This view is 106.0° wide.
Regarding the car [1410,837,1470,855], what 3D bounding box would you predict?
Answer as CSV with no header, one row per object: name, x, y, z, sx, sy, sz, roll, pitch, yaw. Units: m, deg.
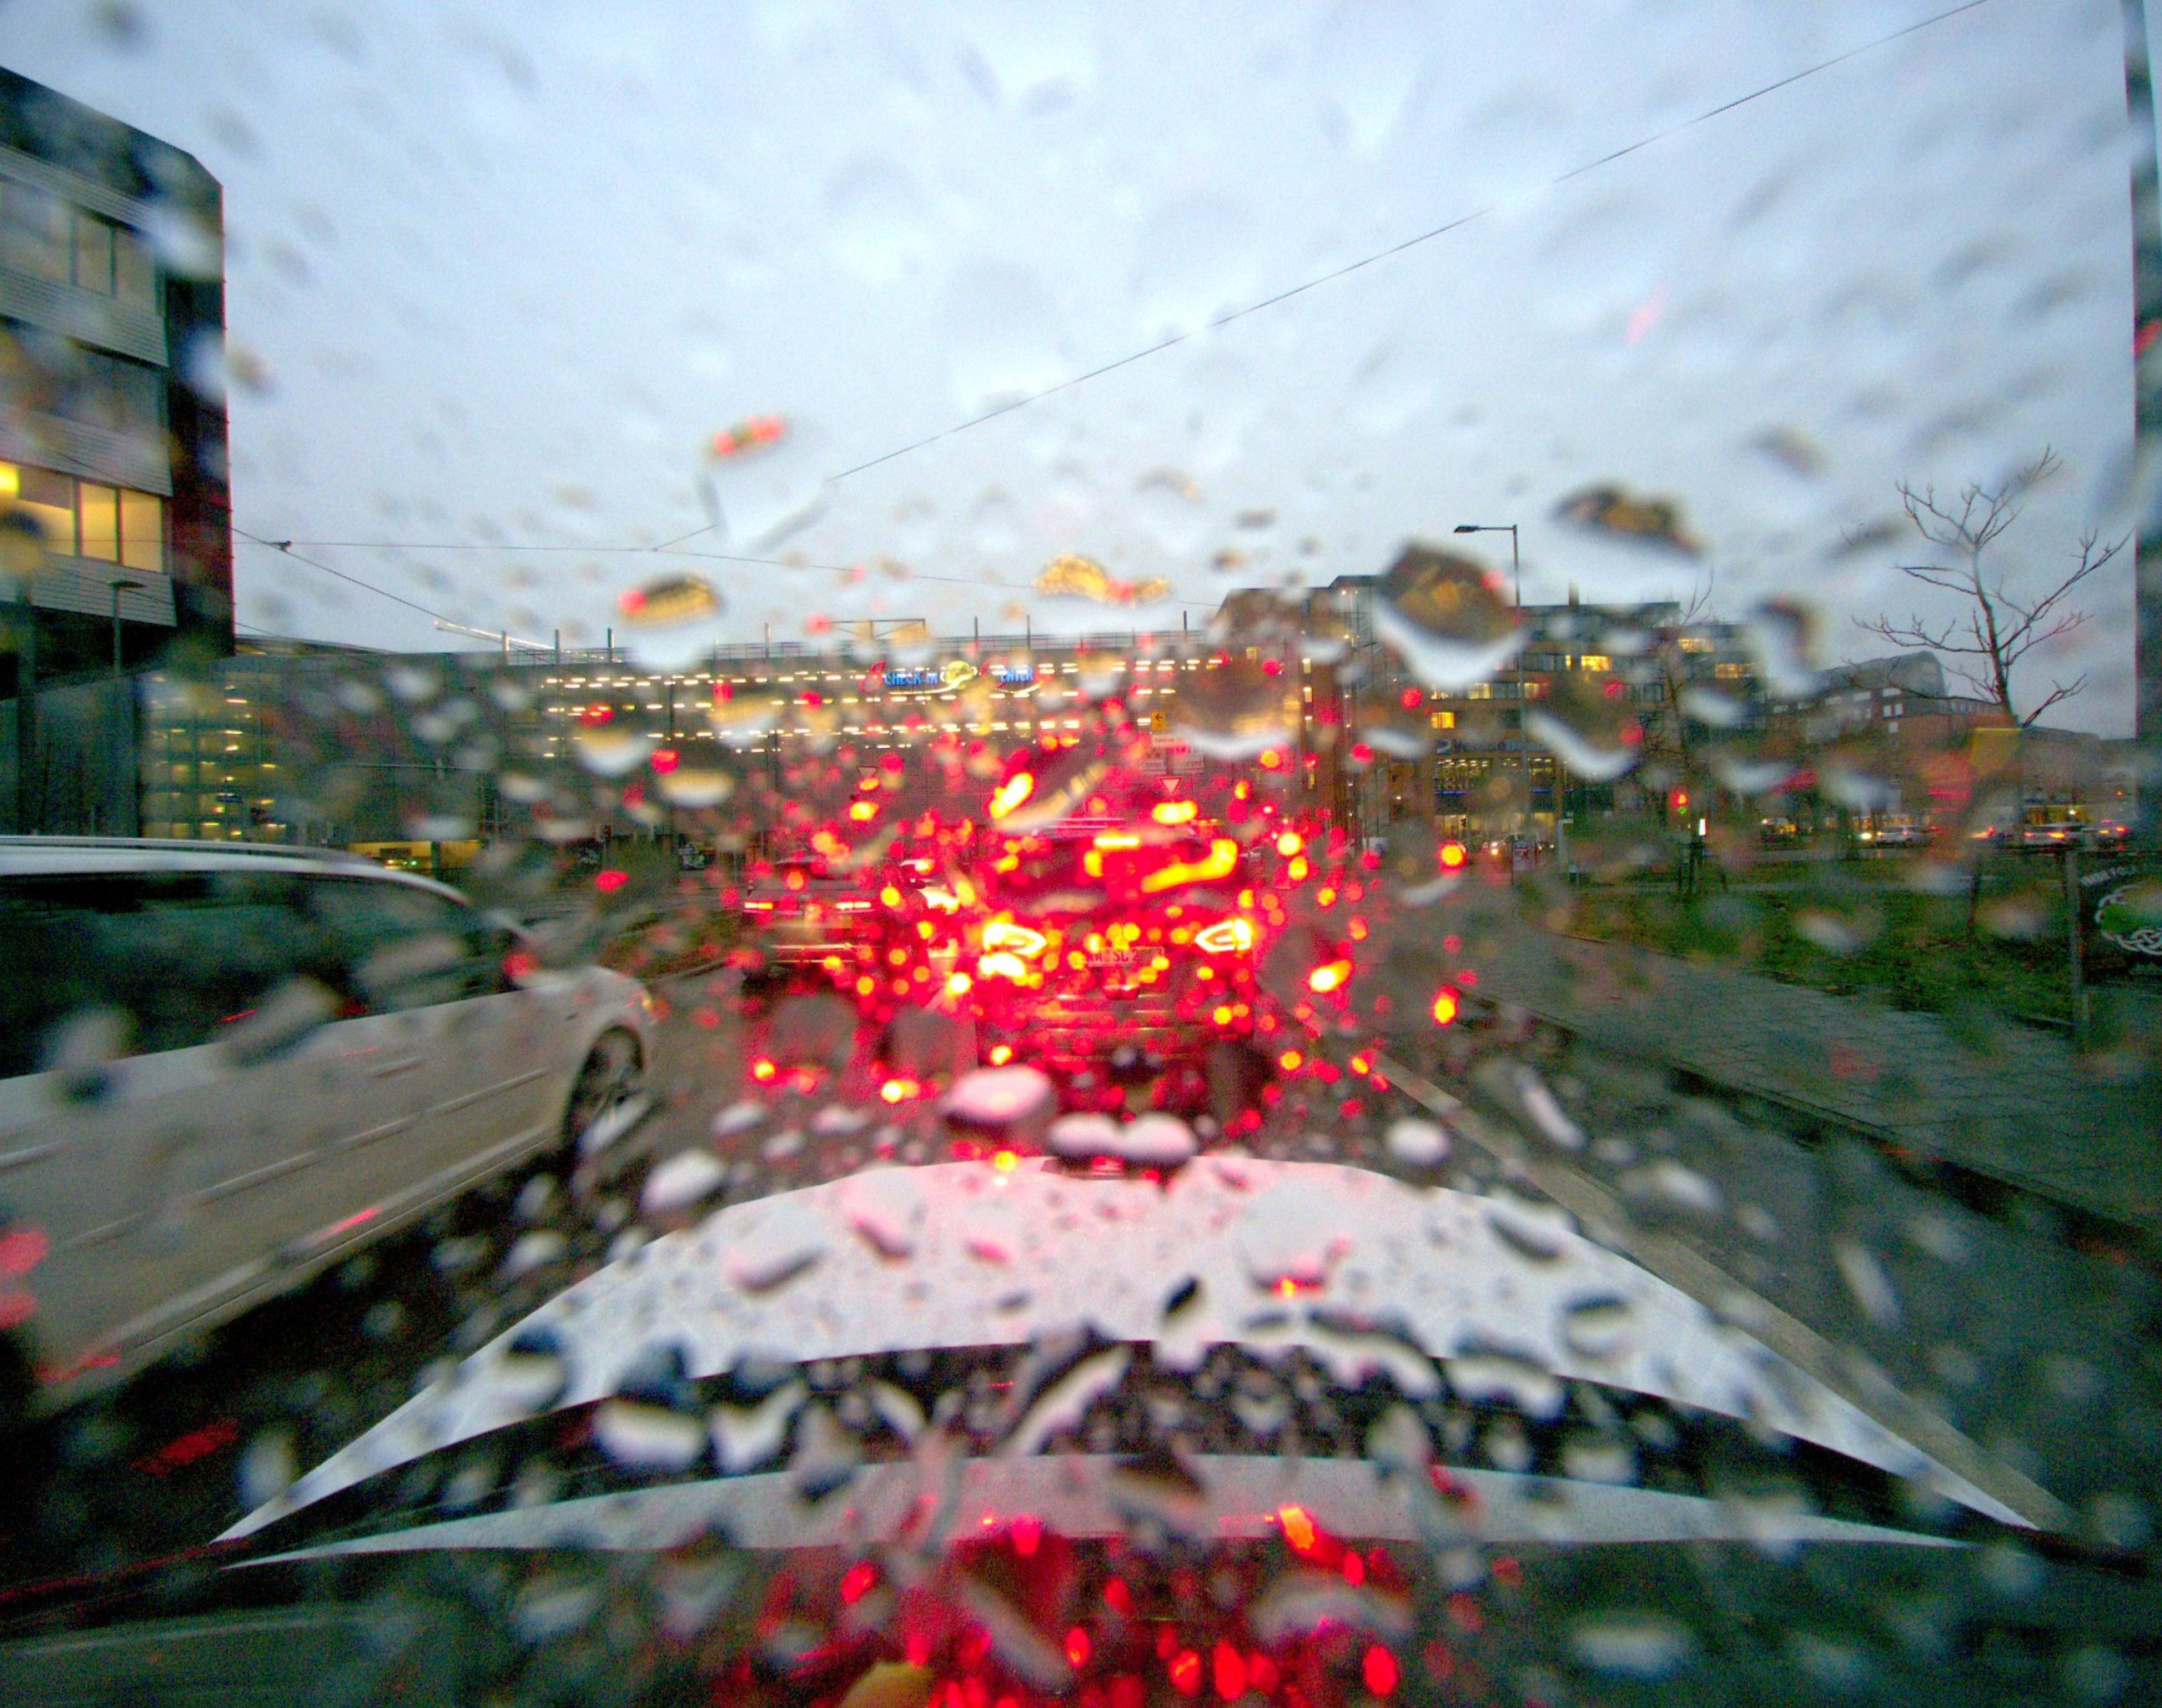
car,29.887,-0.660,67.842,4.209,1.390,1.796,-2,0,-6

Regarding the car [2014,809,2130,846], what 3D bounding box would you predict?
car,54.956,-1.449,45.198,4.664,1.851,1.827,-2,-1,-7

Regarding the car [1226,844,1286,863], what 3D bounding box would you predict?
car,14.249,-0.071,66.284,4.413,1.390,1.796,-2,0,-6

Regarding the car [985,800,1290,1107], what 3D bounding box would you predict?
car,0.316,0.563,6.769,1.730,1.738,4.246,1,0,0

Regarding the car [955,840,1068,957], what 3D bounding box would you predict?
car,-1.096,0.664,13.814,1.632,1.697,3.667,-1,0,-3

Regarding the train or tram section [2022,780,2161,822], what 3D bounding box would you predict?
train or tram section,90.064,-4.722,71.525,16.626,3.260,2.326,-2,0,-14

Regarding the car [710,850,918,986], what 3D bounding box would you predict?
car,-3.591,0.769,11.739,1.748,1.574,3.997,-2,0,-2

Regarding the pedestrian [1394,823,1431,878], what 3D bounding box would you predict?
pedestrian,11.826,-0.117,29.049,1.159,1.924,0.904,1,0,25

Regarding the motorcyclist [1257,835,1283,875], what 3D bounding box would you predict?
motorcyclist,7.336,0.036,31.641,0.863,1.534,1.110,-2,0,7

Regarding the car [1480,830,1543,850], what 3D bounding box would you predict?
car,36.347,-1.189,68.771,4.425,1.534,1.796,-2,0,-6

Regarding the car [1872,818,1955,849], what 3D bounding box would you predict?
car,56.687,-1.359,55.476,3.985,2.013,1.994,0,0,-9

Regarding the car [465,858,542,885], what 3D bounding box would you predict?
car,-47.477,1.435,67.021,4.831,2.000,1.797,-2,0,-5

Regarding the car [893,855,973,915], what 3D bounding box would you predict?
car,-3.478,0.683,19.660,1.538,1.251,4.059,-1,0,-6

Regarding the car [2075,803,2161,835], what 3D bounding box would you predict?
car,66.860,-2.248,52.392,3.987,1.874,1.994,-3,1,-10

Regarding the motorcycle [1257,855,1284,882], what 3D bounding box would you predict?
motorcycle,7.346,0.553,31.624,0.848,0.972,1.585,-2,0,7

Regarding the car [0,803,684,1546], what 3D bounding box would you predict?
car,-3.243,0.698,2.856,1.665,1.660,4.147,1,0,0

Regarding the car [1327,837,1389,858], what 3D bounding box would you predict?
car,22.627,-0.533,66.559,4.413,1.595,1.796,-2,0,-6

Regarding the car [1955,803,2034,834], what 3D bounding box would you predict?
car,64.302,-2.447,57.313,4.948,2.013,1.987,0,0,-20

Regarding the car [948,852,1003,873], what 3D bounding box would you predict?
car,-8.814,0.735,68.079,4.413,1.595,1.796,-2,0,-6
